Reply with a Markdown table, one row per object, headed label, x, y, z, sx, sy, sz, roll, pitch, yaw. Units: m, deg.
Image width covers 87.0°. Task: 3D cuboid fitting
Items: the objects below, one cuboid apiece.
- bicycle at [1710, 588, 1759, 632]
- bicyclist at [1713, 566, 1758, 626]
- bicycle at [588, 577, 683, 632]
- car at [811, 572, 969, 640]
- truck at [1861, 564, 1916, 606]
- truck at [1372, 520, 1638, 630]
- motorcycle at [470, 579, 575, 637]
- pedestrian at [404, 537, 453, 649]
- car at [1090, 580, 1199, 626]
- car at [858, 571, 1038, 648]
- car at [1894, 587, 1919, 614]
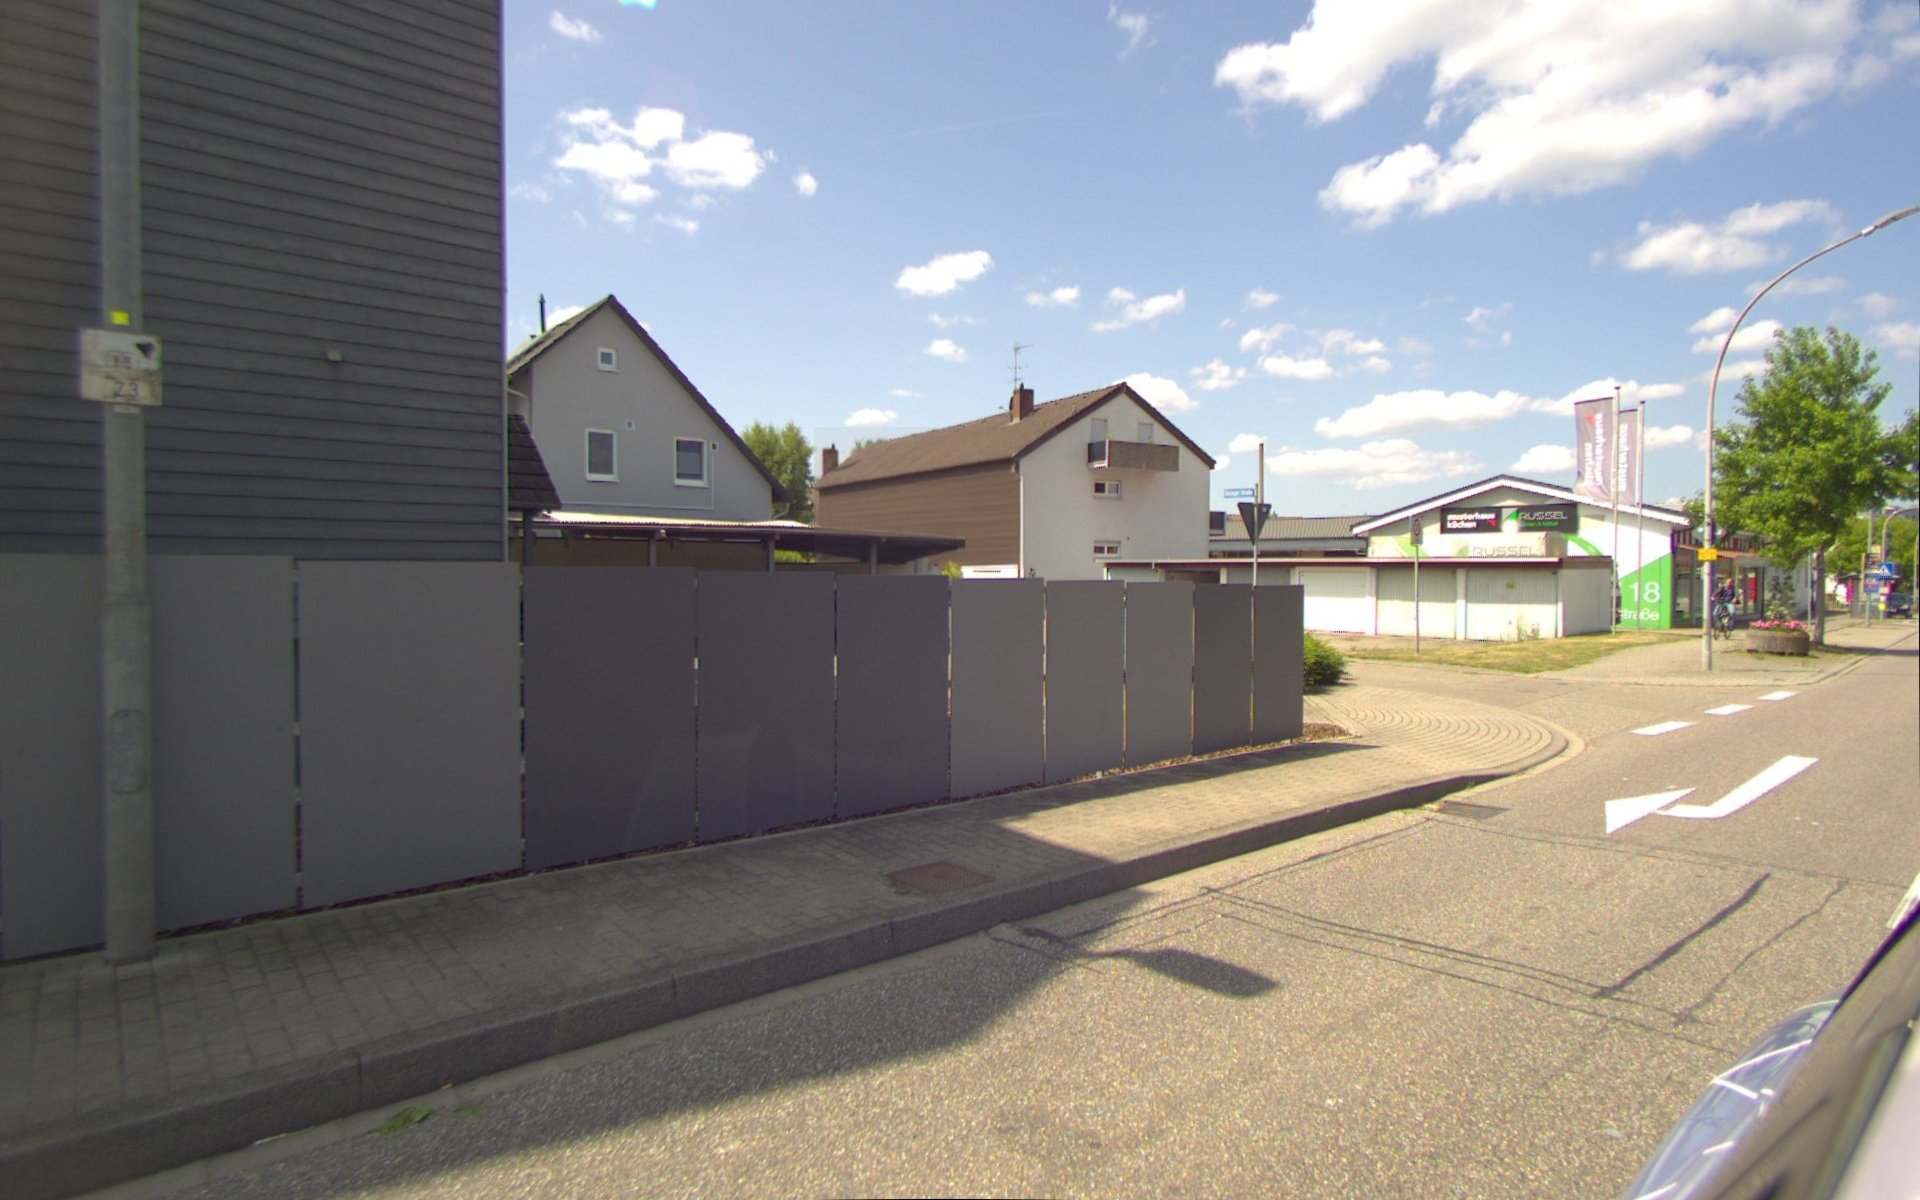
| label | x | y | z | sx | sy | sz | roll | pitch | yaw |
| --- | --- | --- | --- | --- | --- | --- | --- | --- | --- |
| bicycle | 21.885 | 0.279 | 28.570 | 1.911 | 1.180 | 0.803 | 0 | -2 | -45 |
| bicyclist | 21.859 | -0.098 | 28.523 | 1.093 | 1.651 | 0.803 | 1 | -3 | -44 |
| bicycle | -7.344 | 0.106 | 22.943 | 1.917 | 1.187 | 0.649 | 2 | 0 | -40 |
| car | -1.767 | 0.168 | 26.318 | 3.785 | 1.607 | 1.740 | 2 | 1 | -41 |
| truck | 66.418 | -1.131 | 72.476 | 2.570 | 2.795 | 6.243 | 3 | 3 | 40 |
| truck | 19.662 | -0.899 | 37.000 | 2.634 | 3.616 | 8.178 | -2 | 2 | -43 |
| motorcycle | -9.232 | 0.171 | 21.393 | 1.917 | 1.178 | 0.649 | 2 | 0 | -40 |
| pedestrian | -7.532 | -0.097 | 14.329 | 0.525 | 1.548 | 0.483 | 0 | 1 | -39 |
| car | 6.532 | 0.058 | 35.691 | 4.061 | 1.521 | 1.677 | -1 | 2 | -42 |
| car | -0.224 | 0.234 | 24.282 | 4.141 | 1.669 | 1.740 | 2 | 1 | -41 |
| car | 57.314 | 0.000 | 60.643 | 3.698 | 1.511 | 1.726 | -1 | 3 | -44 |
